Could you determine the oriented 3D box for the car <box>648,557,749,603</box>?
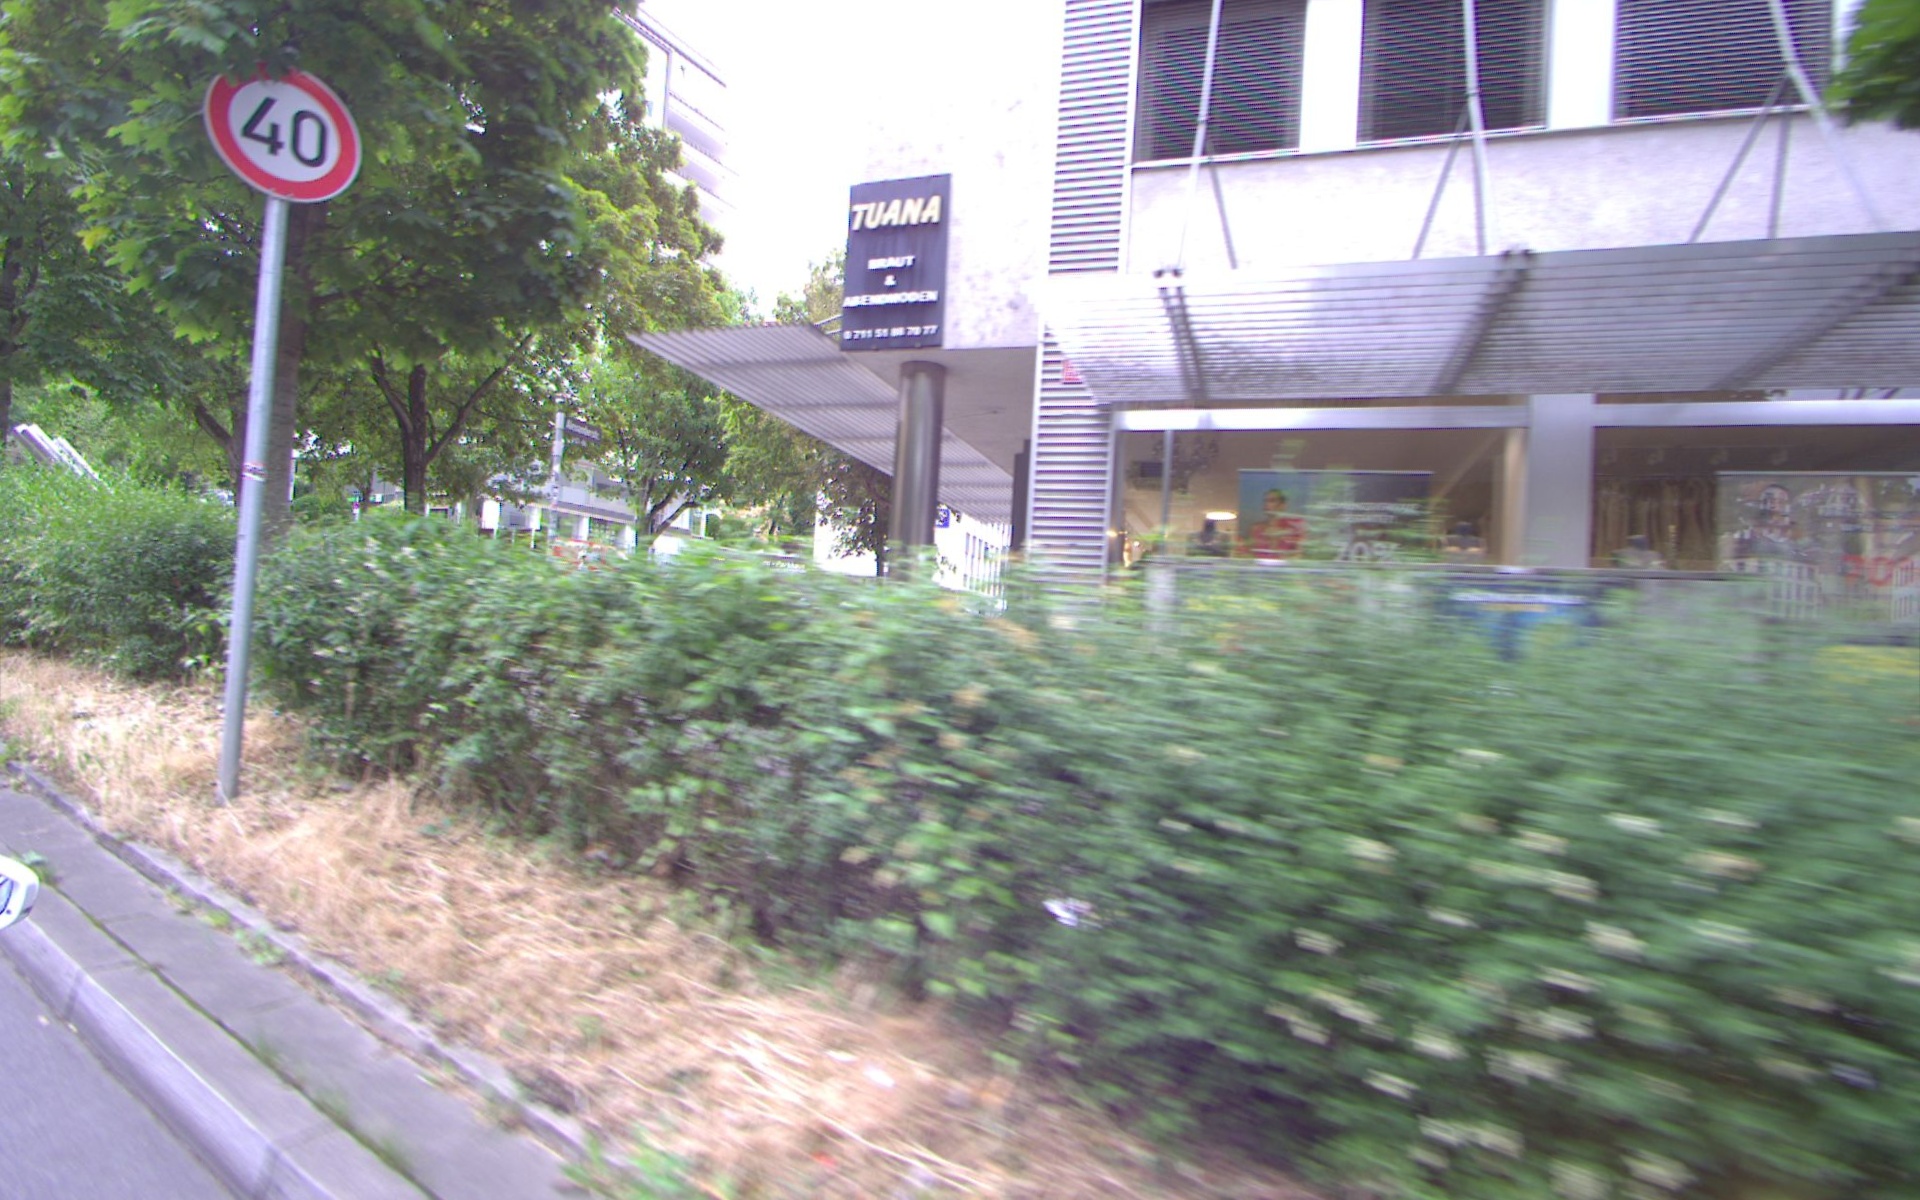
[{"bbox_3d":[-12.185,-0.924,46.981,4.070,1.524,1.757,6,-4,7],"label":"car"}]

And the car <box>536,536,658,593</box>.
[{"bbox_3d":[-17.189,-1.662,47.799,4.886,2.049,2.034,5,-4,8],"label":"car"}]

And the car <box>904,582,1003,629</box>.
[{"bbox_3d":[-0.266,0.273,45.077,4.070,1.514,1.757,6,-4,8],"label":"car"}]

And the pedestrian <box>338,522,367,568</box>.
[{"bbox_3d":[-21.806,-1.972,36.117,0.610,1.561,0.549,7,0,36],"label":"pedestrian"}]

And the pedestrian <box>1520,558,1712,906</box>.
[{"bbox_3d":[3.752,0.731,5.814,0.597,1.815,0.676,7,-2,17],"label":"pedestrian"}]

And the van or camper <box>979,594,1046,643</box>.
[{"bbox_3d":[3.246,1.167,61.130,2.259,2.254,5.450,5,-5,22],"label":"van or camper"}]
